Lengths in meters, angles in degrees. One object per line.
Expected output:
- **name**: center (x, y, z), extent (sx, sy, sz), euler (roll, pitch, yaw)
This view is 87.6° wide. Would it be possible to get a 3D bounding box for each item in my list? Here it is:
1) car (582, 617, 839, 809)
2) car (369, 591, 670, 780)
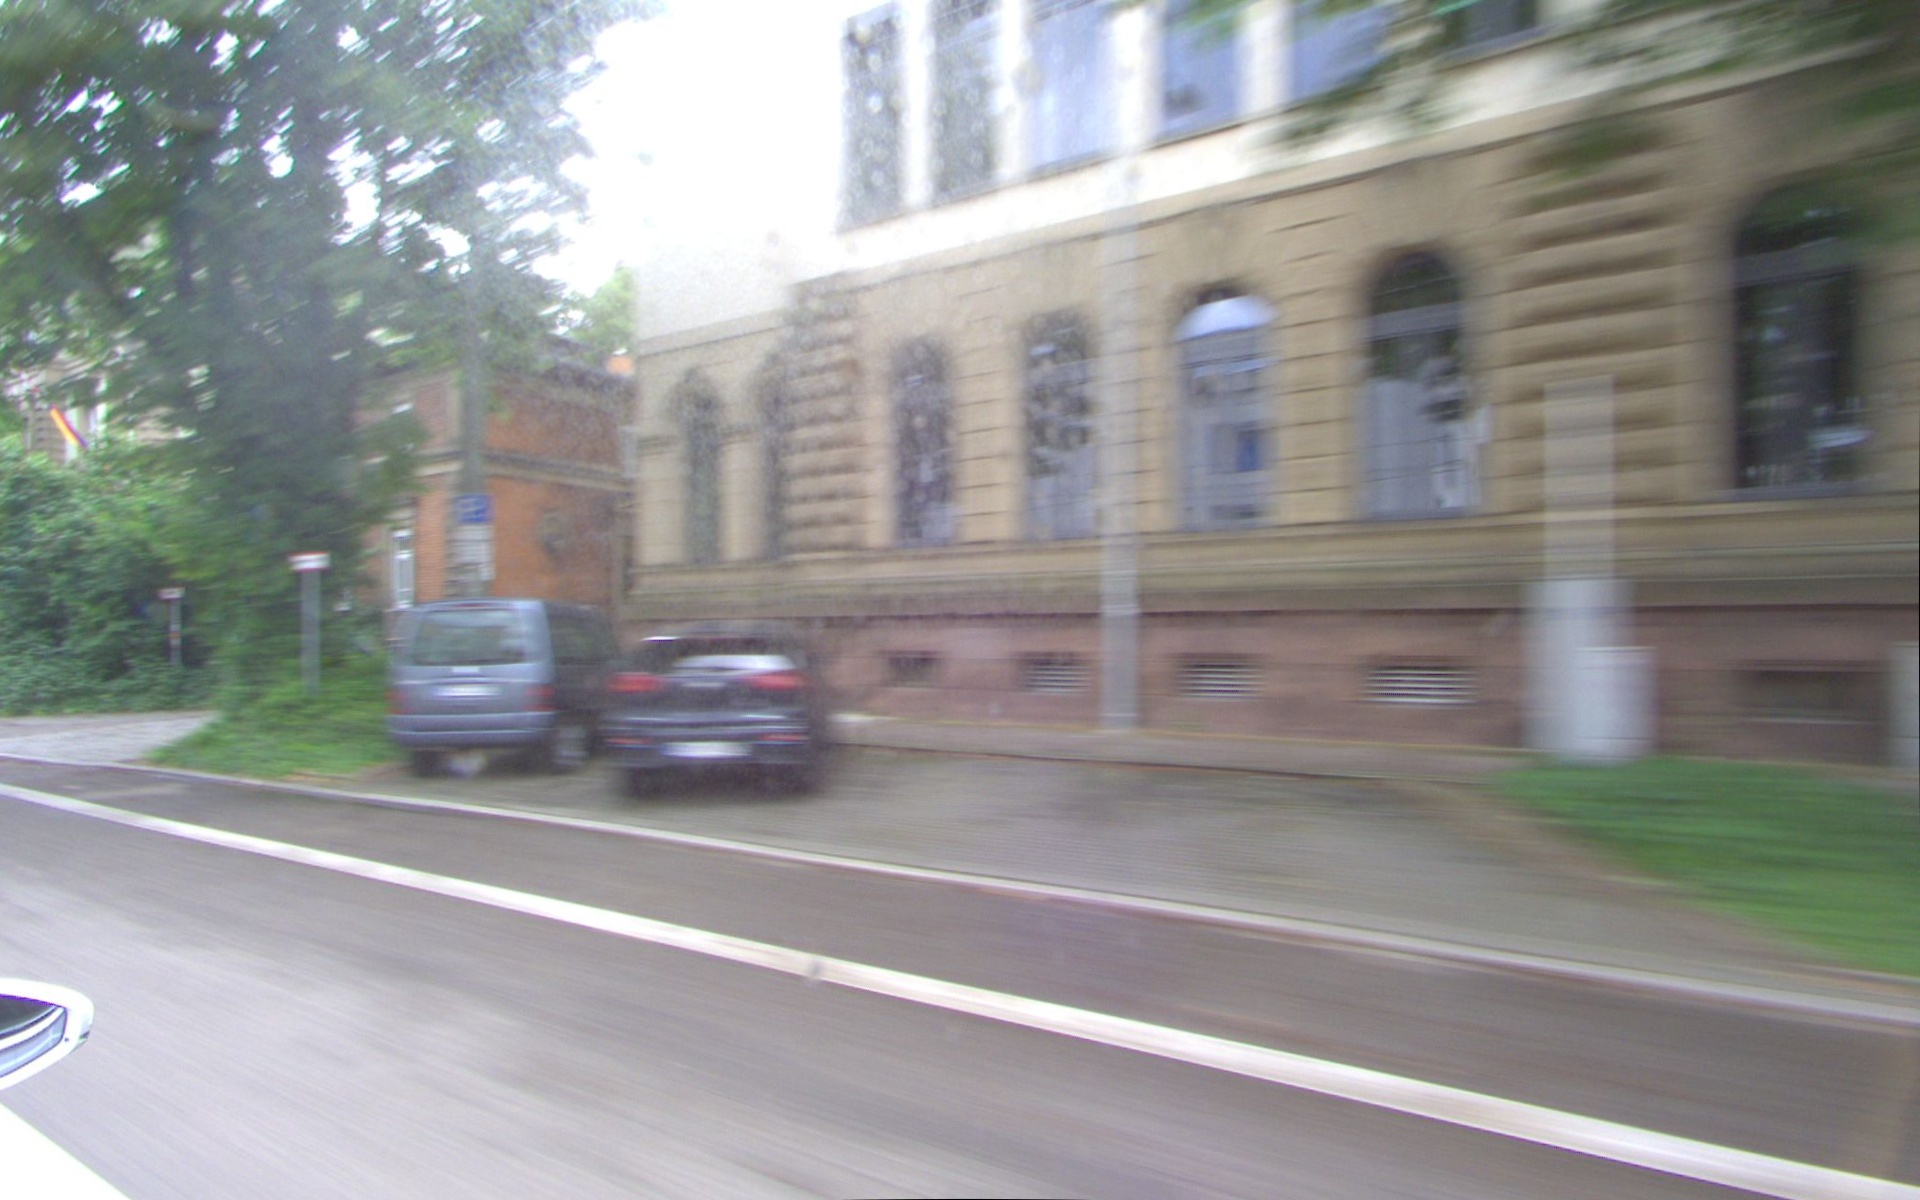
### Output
- **car**: center (-2.293, 0.958, 10.256), extent (1.828, 1.559, 4.000), euler (0, -1, -3)
- **car**: center (-4.852, 0.861, 11.679), extent (1.772, 1.844, 3.840), euler (0, -1, 1)
